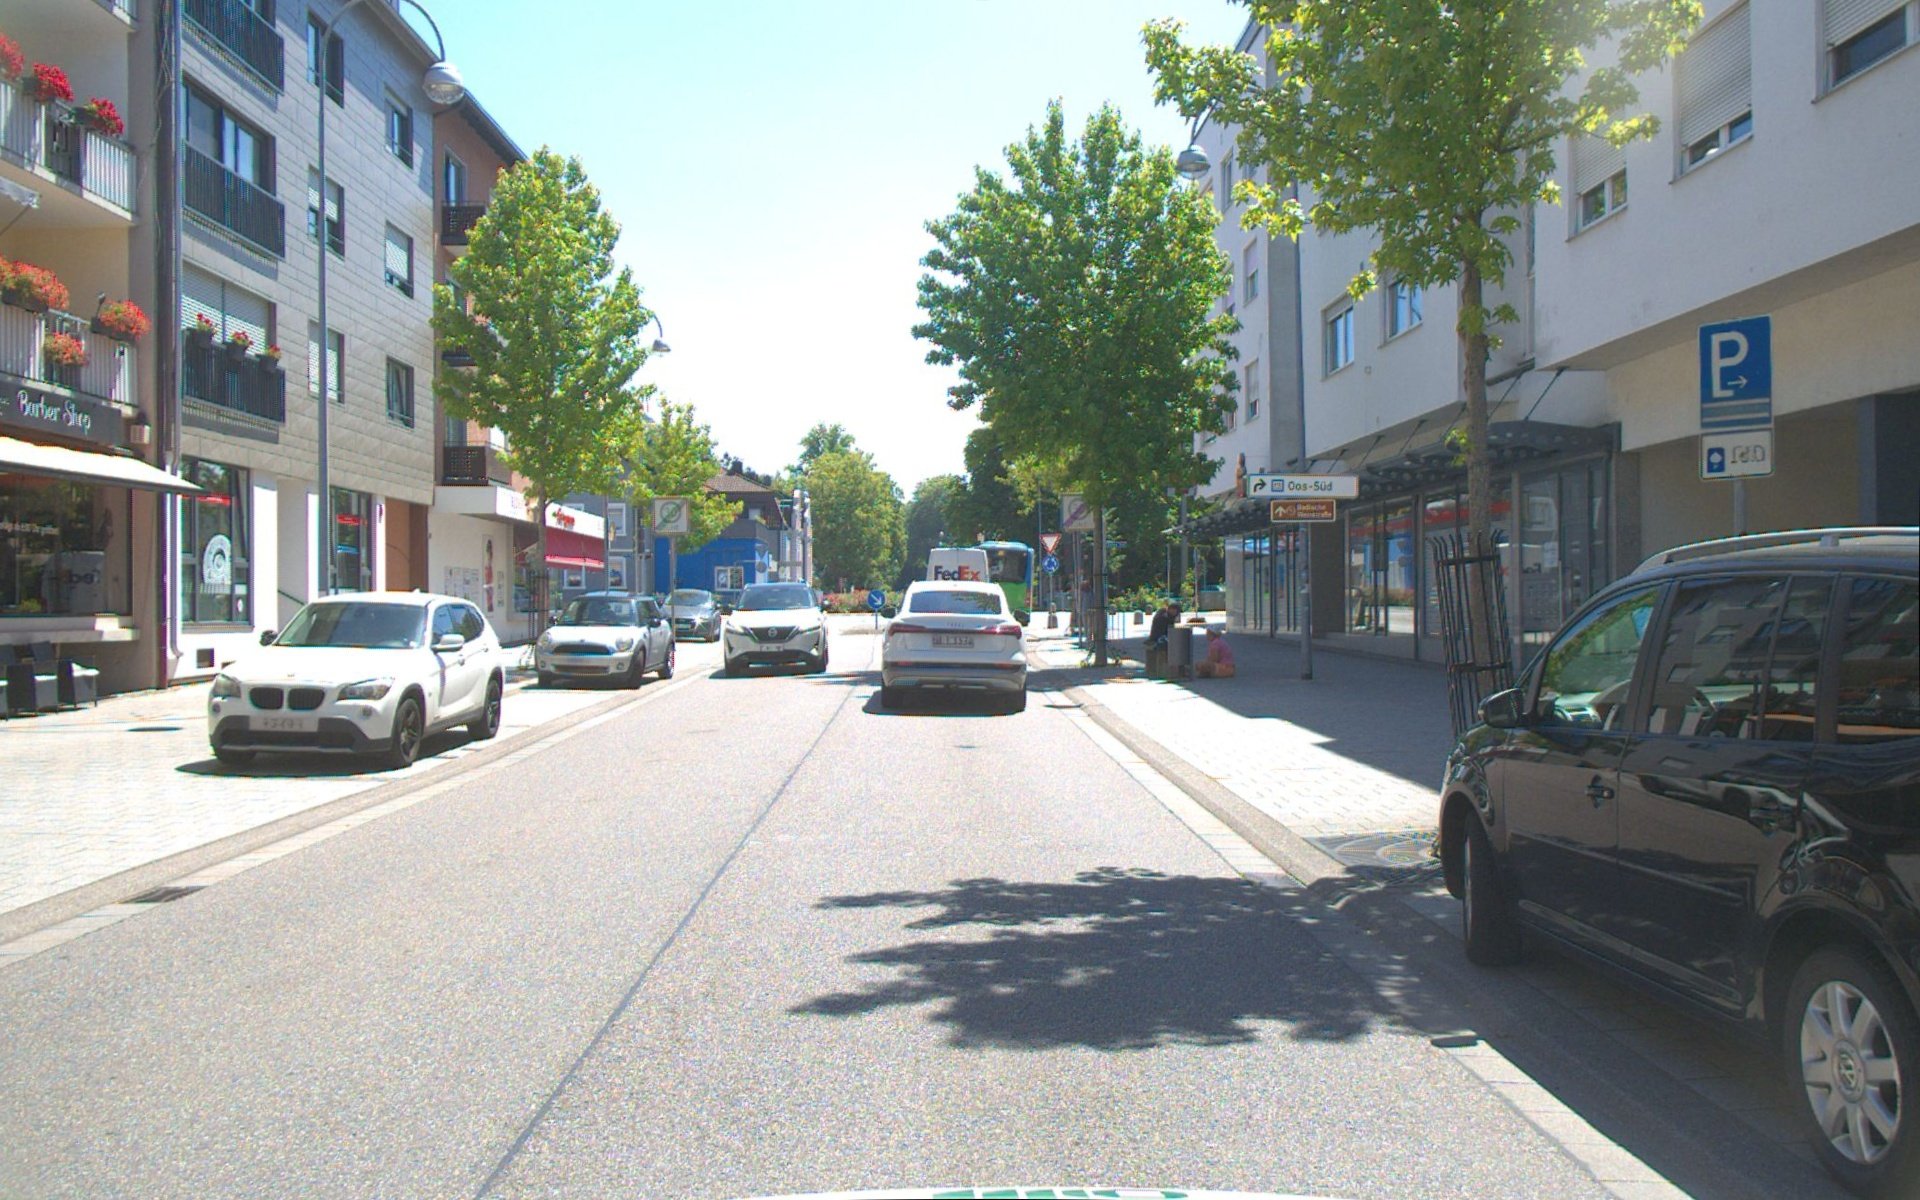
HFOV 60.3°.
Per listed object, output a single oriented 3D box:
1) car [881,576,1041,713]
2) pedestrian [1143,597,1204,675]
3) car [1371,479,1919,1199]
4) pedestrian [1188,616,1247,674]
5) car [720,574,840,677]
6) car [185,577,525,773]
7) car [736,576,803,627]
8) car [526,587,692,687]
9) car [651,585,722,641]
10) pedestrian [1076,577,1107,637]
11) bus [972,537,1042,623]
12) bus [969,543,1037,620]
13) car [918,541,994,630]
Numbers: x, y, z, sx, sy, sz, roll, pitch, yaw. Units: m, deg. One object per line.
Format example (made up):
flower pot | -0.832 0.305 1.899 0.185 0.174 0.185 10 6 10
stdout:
car | -0.065 0.544 22.407 1.953 1.661 3.998 1 0 -2
pedestrian | 3.516 0.581 27.297 0.888 1.258 0.648 -1 0 -2
car | 2.996 0.532 5.531 1.819 1.704 4.534 -2 0 -4
pedestrian | 4.173 0.726 26.840 0.887 0.894 0.648 -1 0 4
car | -3.255 0.440 30.656 1.819 1.721 4.149 -2 0 -2
car | -5.788 0.640 16.441 1.716 1.646 4.400 1 0 0
car | -7.086 0.063 61.273 1.835 1.788 3.982 1 0 -16
car | -5.692 0.556 27.311 1.716 1.478 4.401 1 0 1
car | -7.962 0.354 48.429 1.802 1.521 3.995 -1 0 -6
pedestrian | 3.432 0.175 43.179 0.572 1.529 0.715 -1 0 -19
bus | 1.897 -0.754 67.354 2.606 3.278 7.302 1 0 1
bus | 1.859 -0.798 74.615 2.607 3.266 7.448 0 0 -2
car | -0.147 -0.406 49.352 2.112 2.484 5.282 1 0 -1
